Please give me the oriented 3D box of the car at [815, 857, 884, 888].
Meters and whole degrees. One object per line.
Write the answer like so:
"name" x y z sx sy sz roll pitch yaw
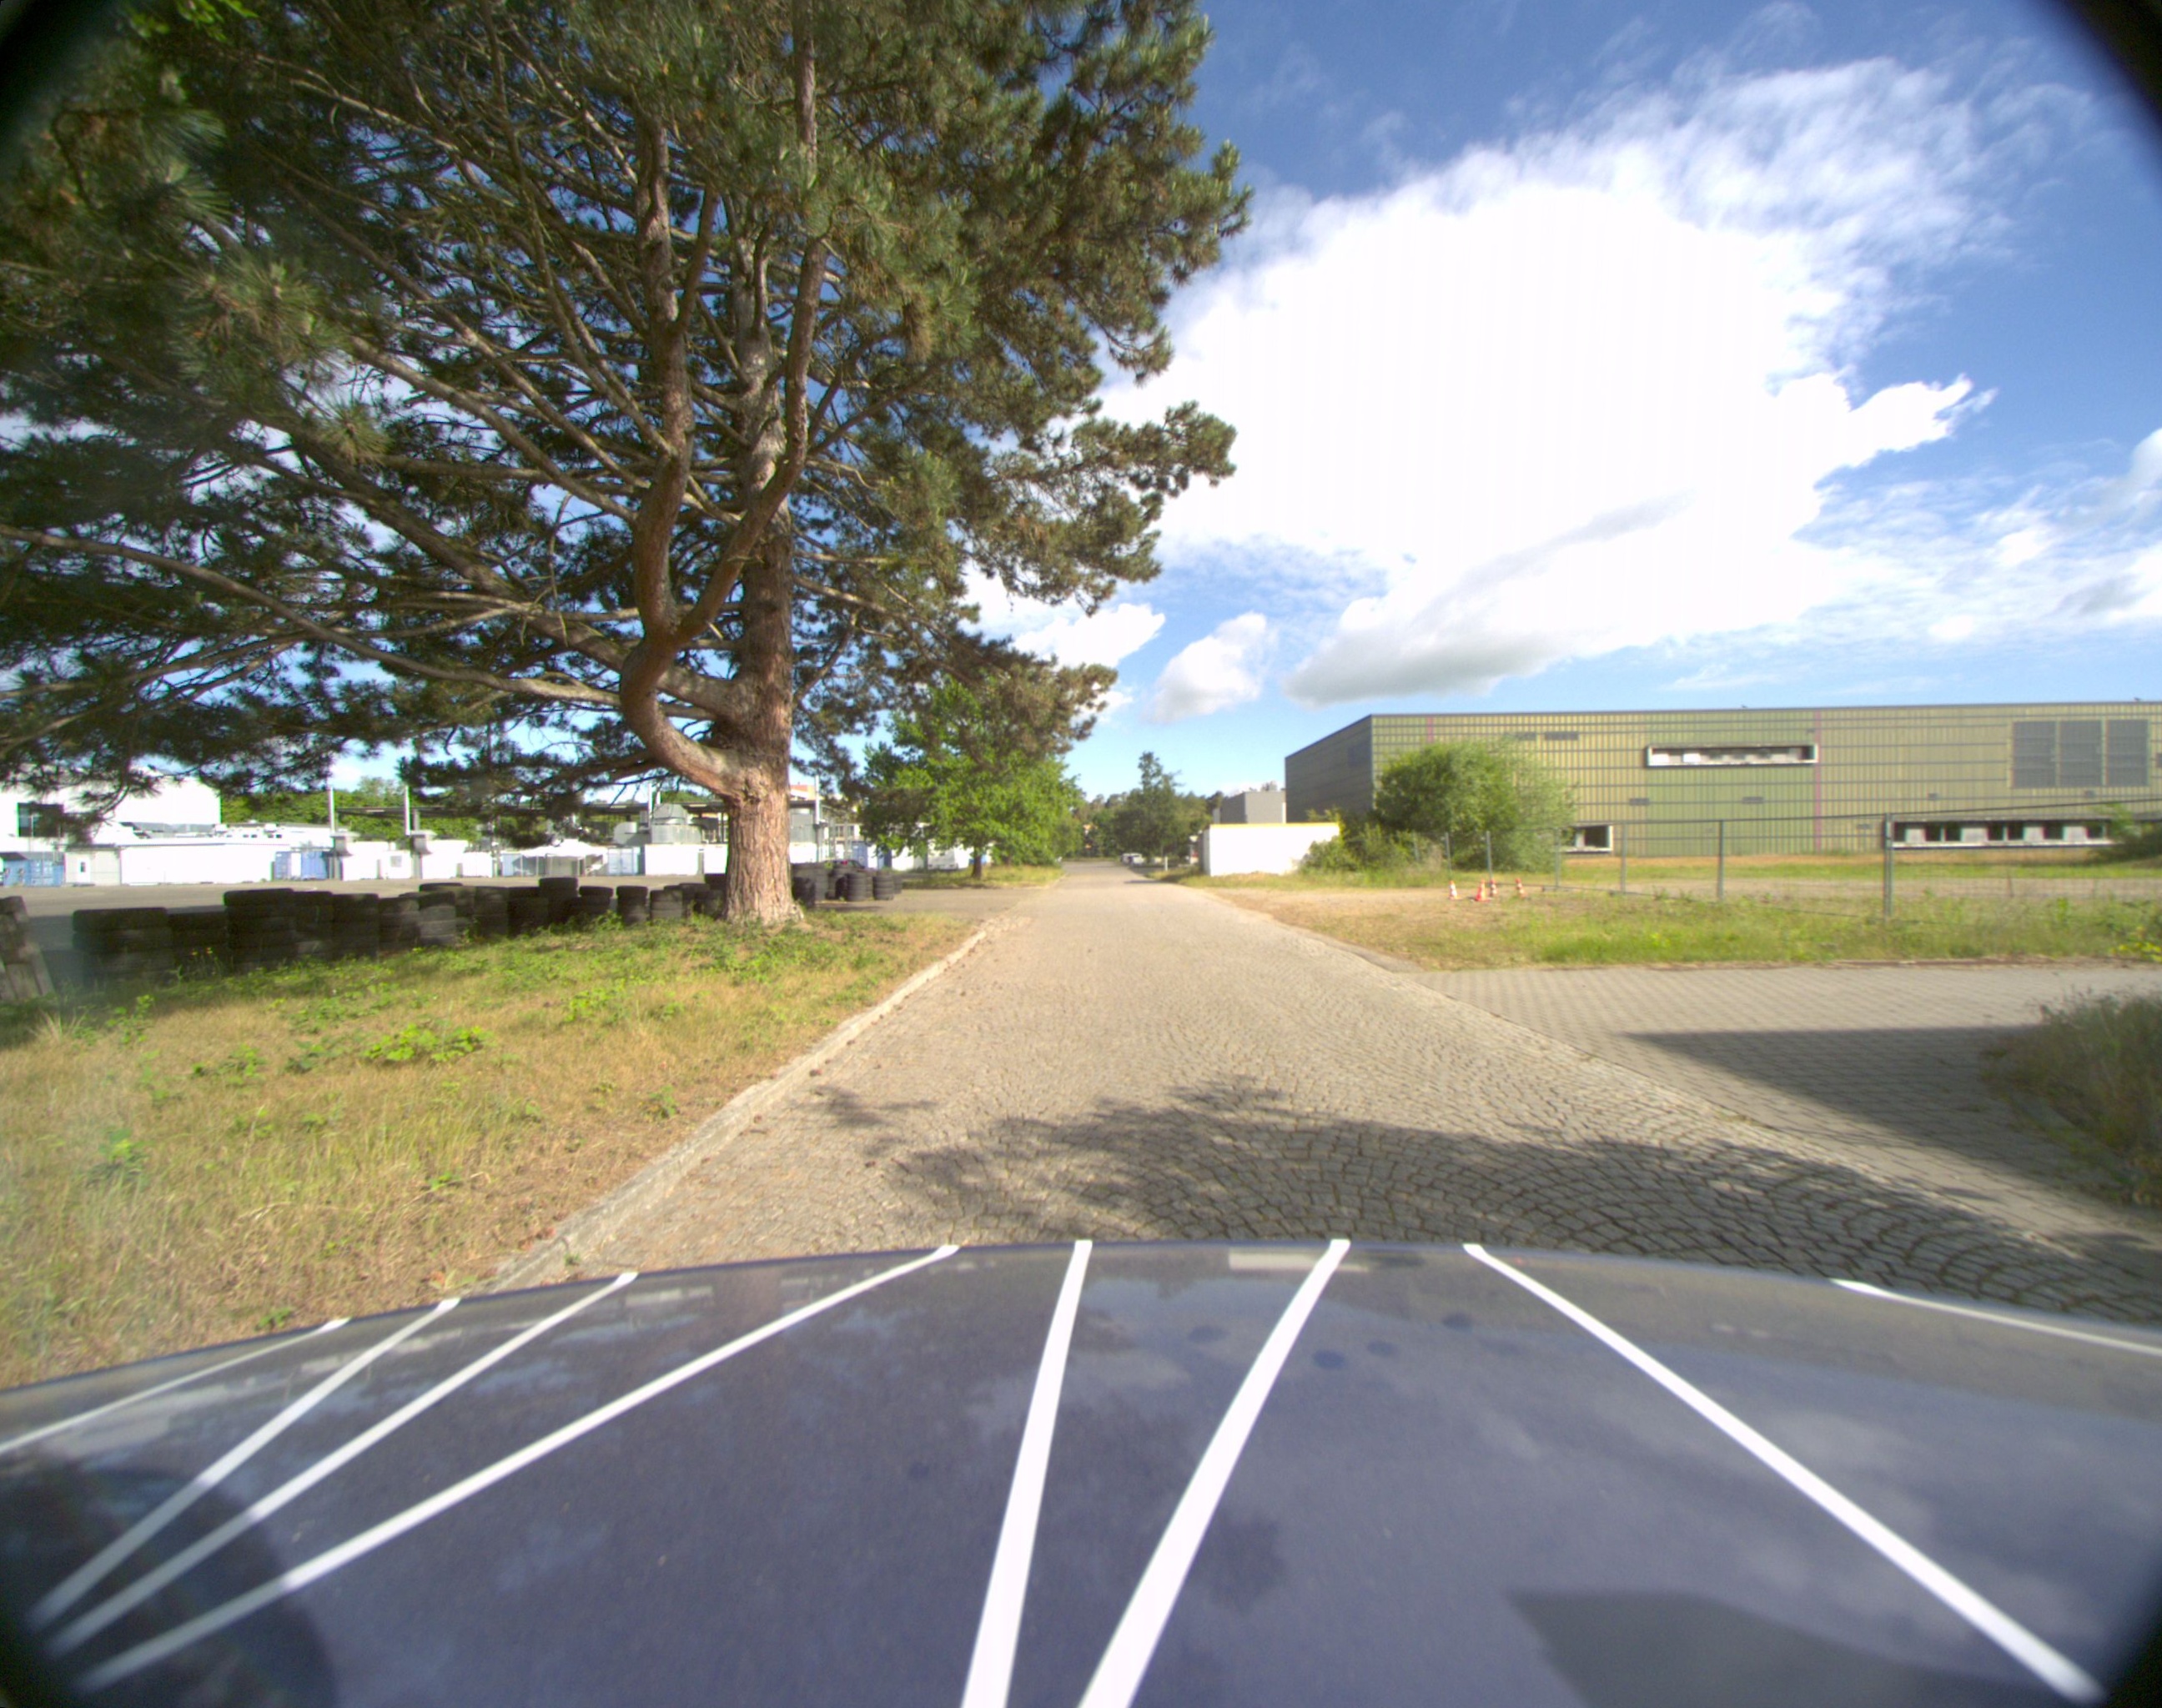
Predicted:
"car" -11.590 0.896 38.344 1.846 1.440 4.002 -1 0 7

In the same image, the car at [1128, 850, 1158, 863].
"car" 8.358 0.350 103.184 3.996 1.678 2.000 -1 1 4

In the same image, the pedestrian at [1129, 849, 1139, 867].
"pedestrian" 5.536 0.405 79.346 0.908 1.797 0.983 -1 1 -6
